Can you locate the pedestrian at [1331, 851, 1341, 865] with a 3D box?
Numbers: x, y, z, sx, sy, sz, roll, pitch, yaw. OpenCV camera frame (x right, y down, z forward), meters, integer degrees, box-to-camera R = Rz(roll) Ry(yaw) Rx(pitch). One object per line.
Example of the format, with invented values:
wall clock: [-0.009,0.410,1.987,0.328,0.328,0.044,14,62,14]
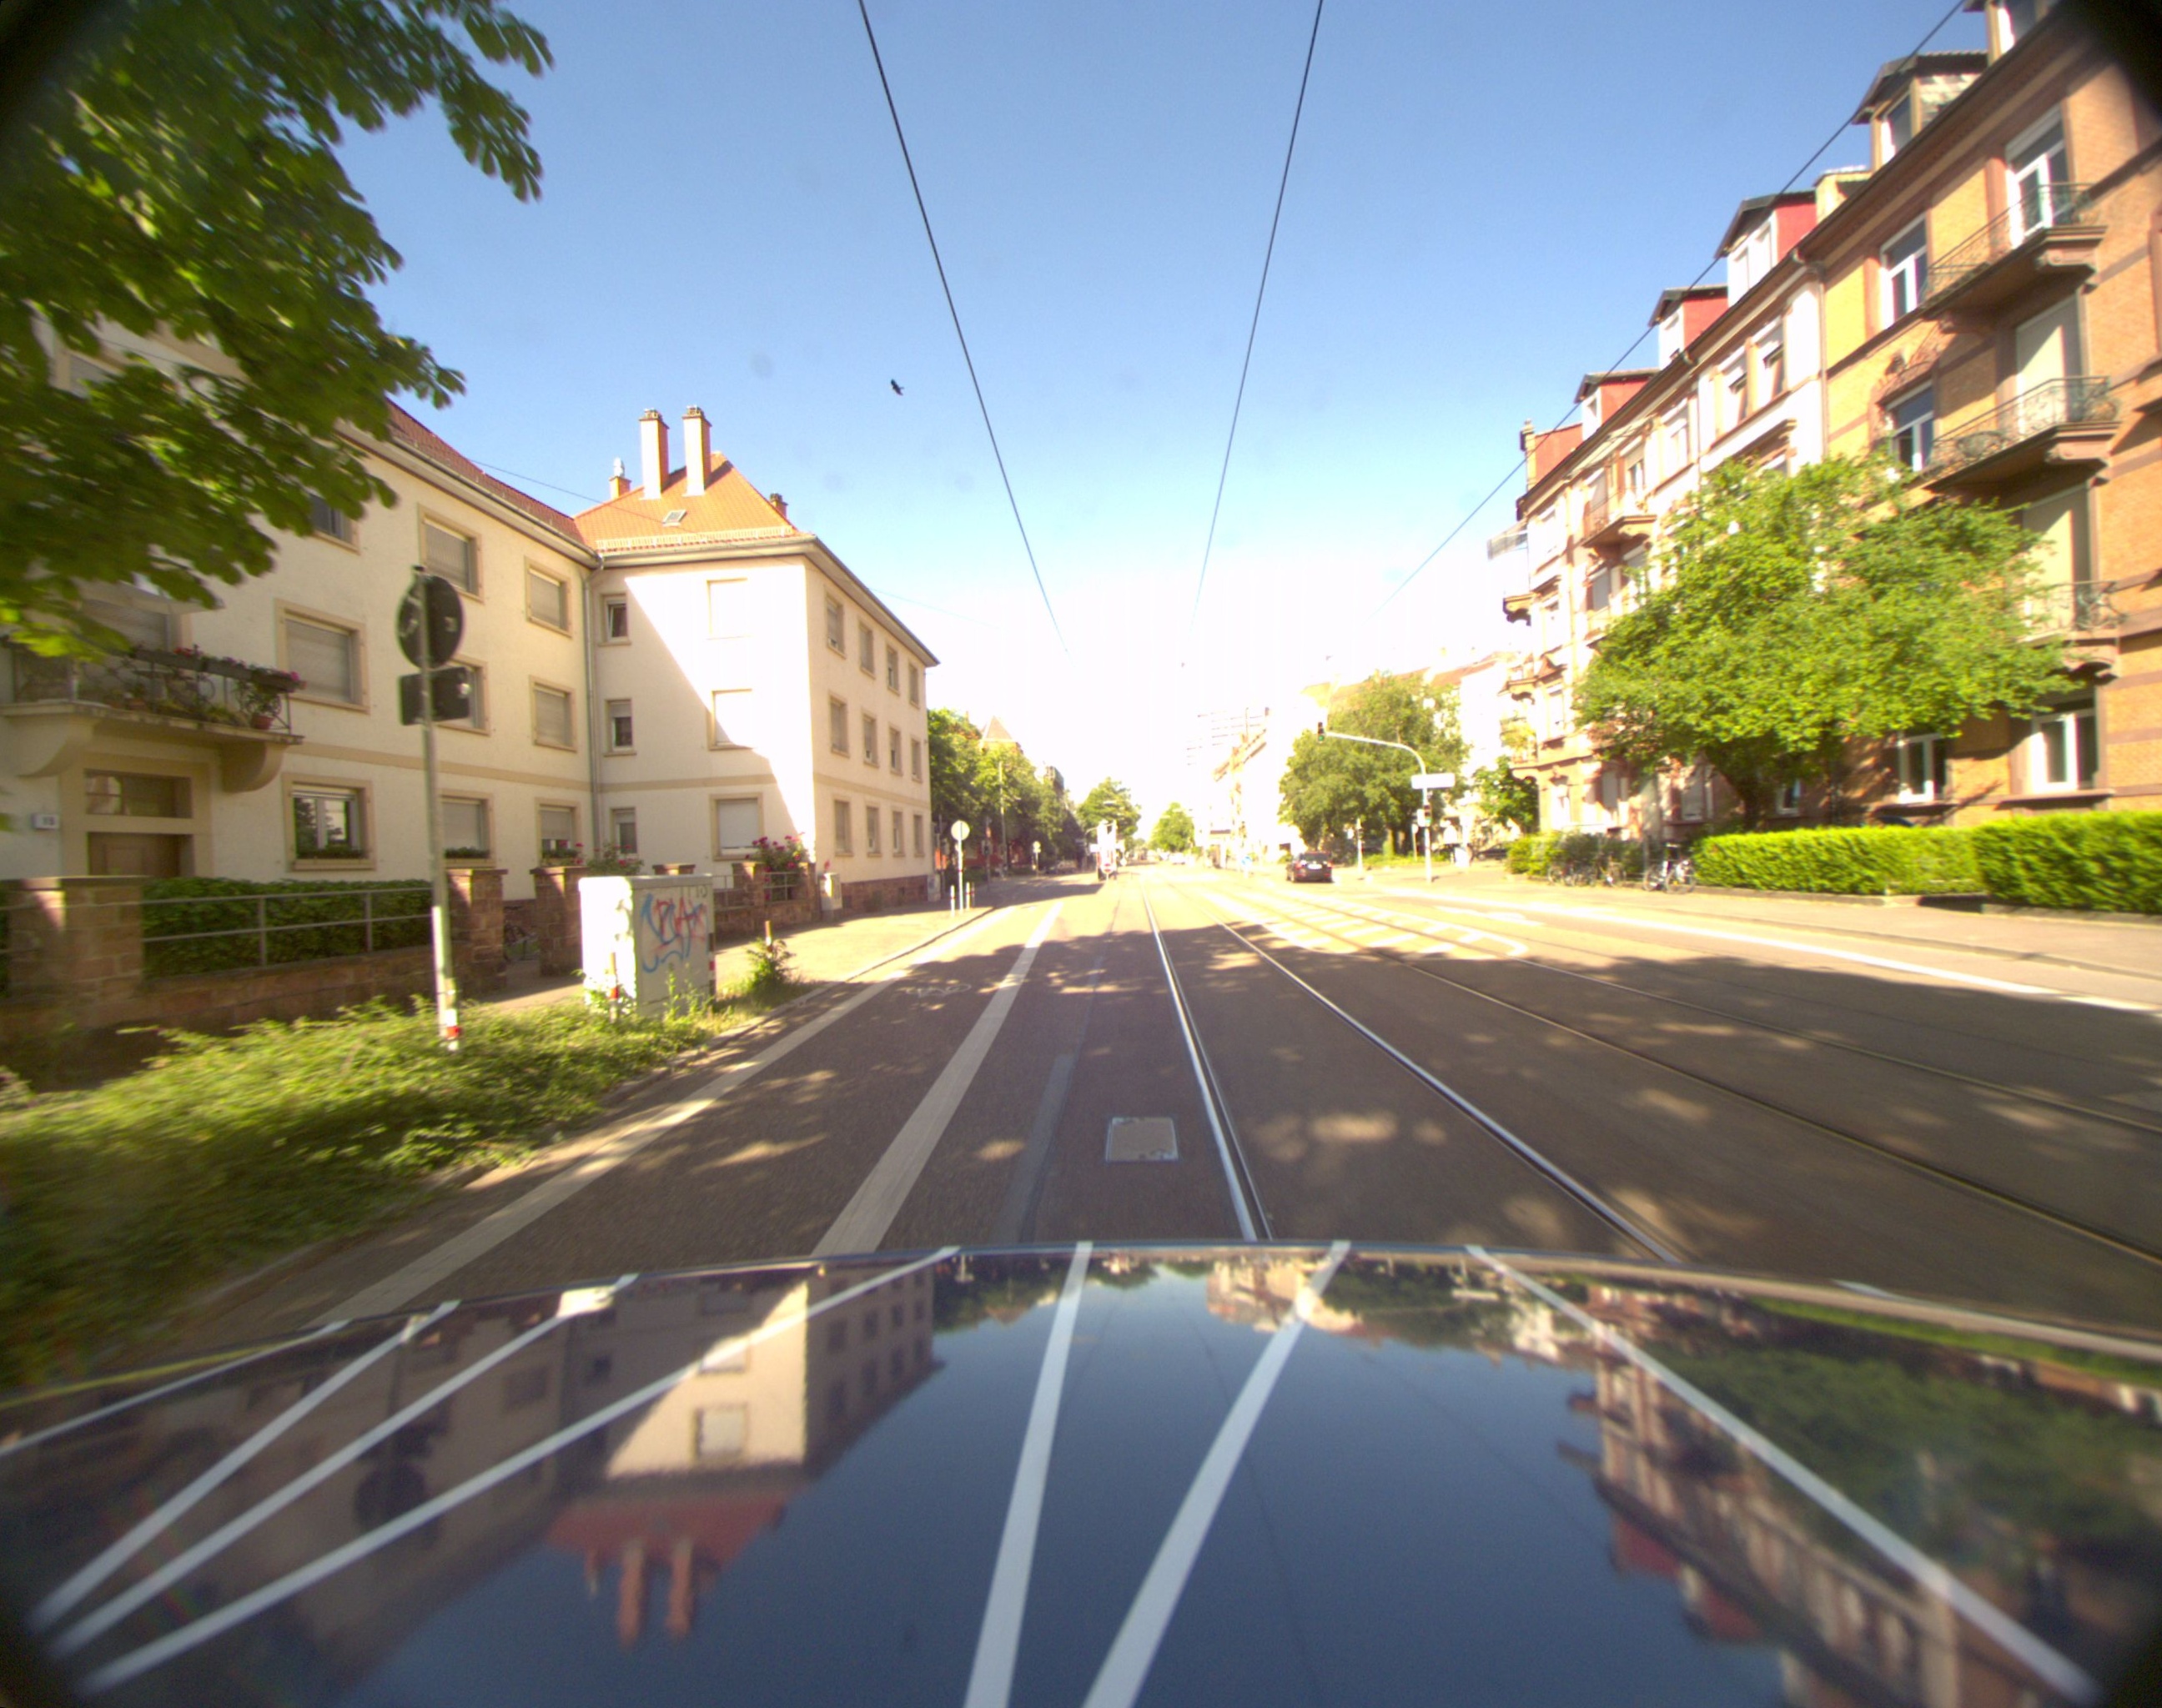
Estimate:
pedestrian: [23.044,0.376,68.588,0.658,1.274,0.724,-4,0,4]

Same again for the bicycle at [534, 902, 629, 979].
bicycle: [-8.349,1.413,12.773,0.460,1.086,1.672,-4,0,-1]

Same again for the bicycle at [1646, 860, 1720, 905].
bicycle: [13.520,0.618,17.113,0.342,0.920,1.944,-4,0,9]

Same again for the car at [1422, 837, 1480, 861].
car: [30.964,-0.418,63.728,4.023,1.686,1.691,-4,0,12]

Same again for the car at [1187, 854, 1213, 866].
car: [19.300,1.030,122.976,3.885,1.581,1.816,-4,4,-1]

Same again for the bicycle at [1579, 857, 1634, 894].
bicycle: [14.110,0.559,20.449,0.342,0.920,1.944,-4,0,9]

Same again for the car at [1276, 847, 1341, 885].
car: [10.625,0.531,35.826,1.836,1.509,4.968,-5,0,4]

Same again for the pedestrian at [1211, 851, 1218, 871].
pedestrian: [11.937,0.619,68.141,0.466,1.774,0.673,-2,0,3]

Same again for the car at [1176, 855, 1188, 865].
car: [15.577,0.909,117.603,1.694,1.531,3.801,-3,0,7]
